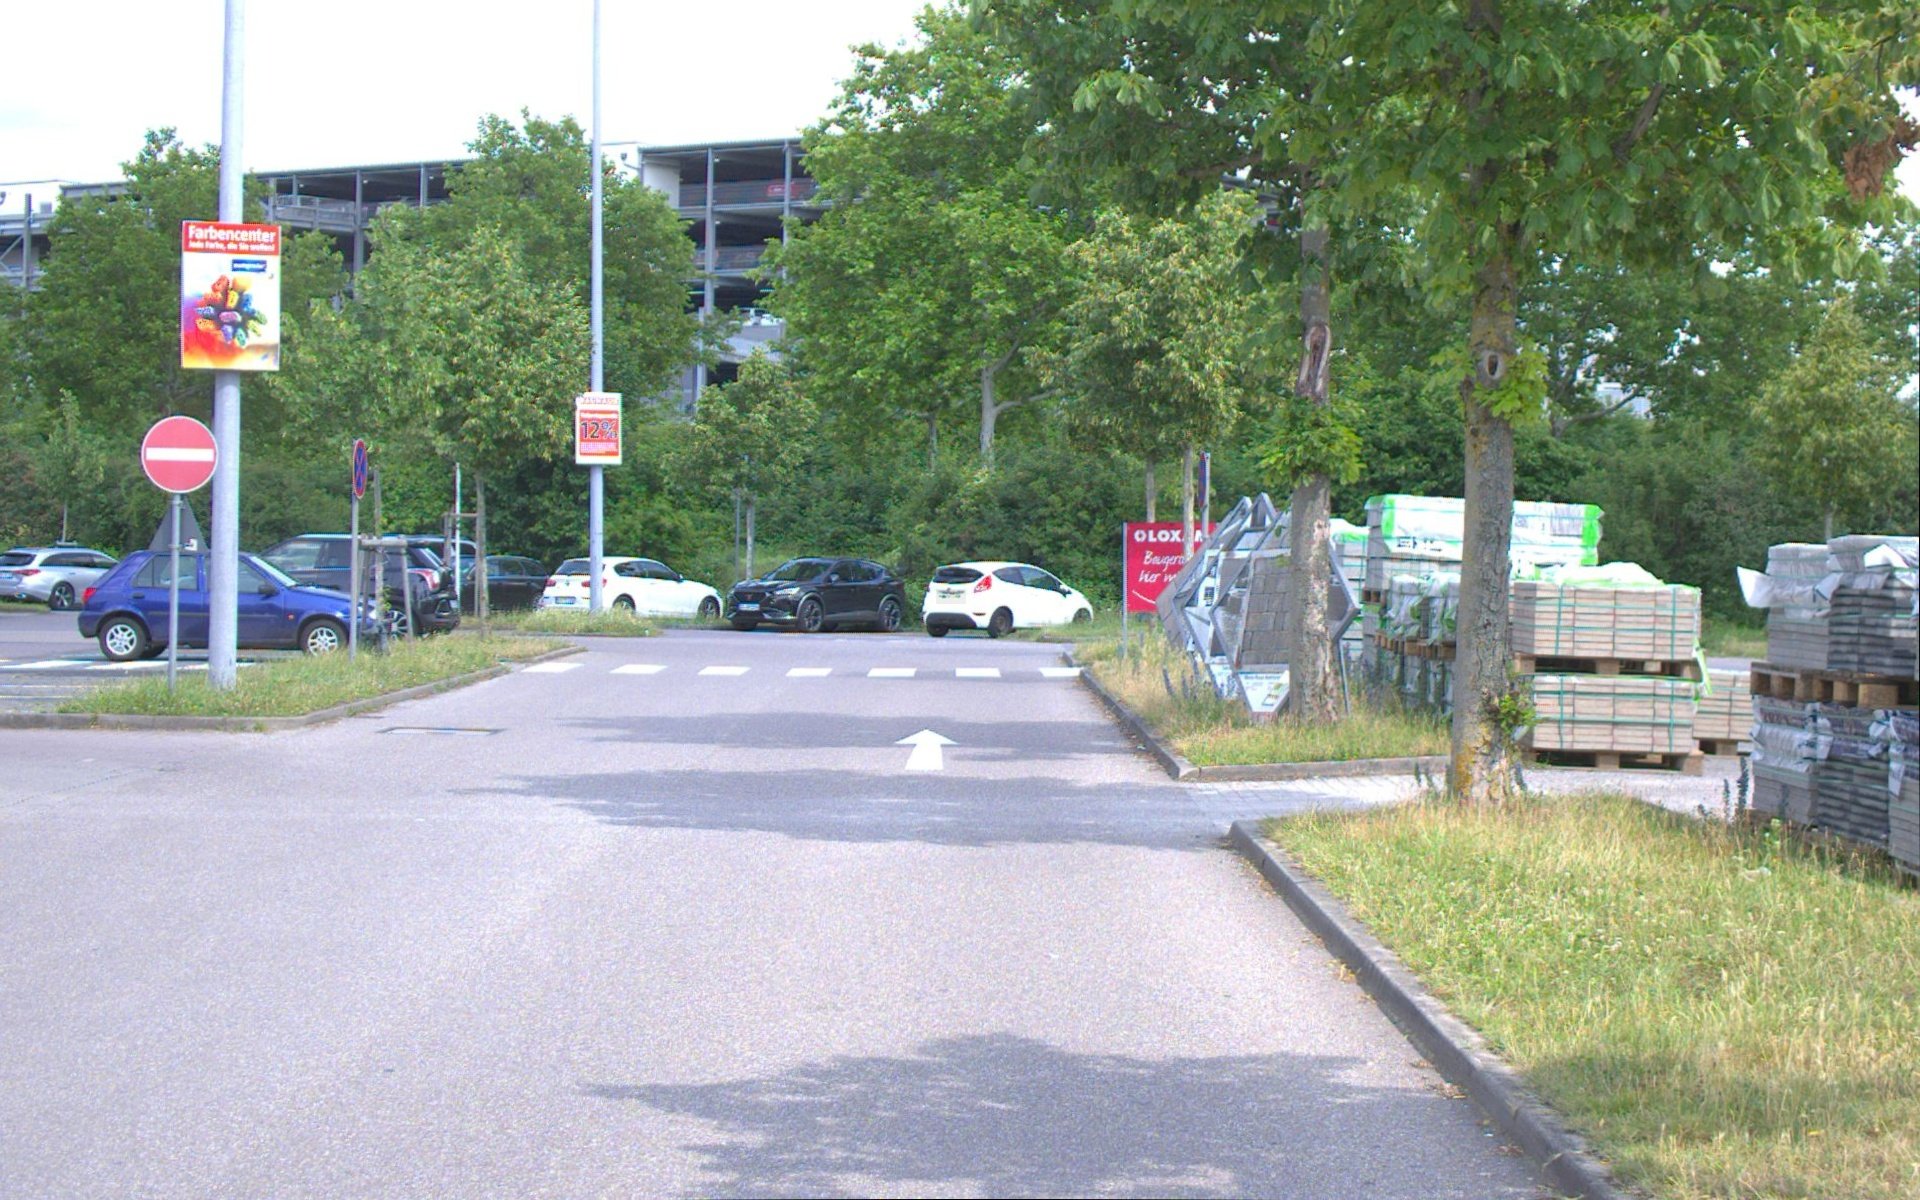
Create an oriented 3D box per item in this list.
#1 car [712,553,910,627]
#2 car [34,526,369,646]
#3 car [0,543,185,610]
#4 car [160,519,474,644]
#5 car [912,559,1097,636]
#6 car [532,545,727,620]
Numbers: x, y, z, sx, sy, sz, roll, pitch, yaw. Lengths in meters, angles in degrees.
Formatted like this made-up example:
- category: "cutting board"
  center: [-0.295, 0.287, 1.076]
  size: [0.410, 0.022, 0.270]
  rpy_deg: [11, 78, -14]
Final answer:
- category: "car"
  center: [-2.948, -0.208, 68.759]
  size: [1.731, 1.405, 4.234]
  rpy_deg: [2, 1, 35]
- category: "car"
  center: [-9.311, -0.183, 42.388]
  size: [3.750, 1.363, 1.621]
  rpy_deg: [1, 1, 0]
- category: "car"
  center: [-20.450, -0.556, 80.243]
  size: [1.782, 1.499, 4.645]
  rpy_deg: [2, 1, 34]
- category: "car"
  center: [-8.842, -0.268, 47.466]
  size: [3.950, 1.619, 1.736]
  rpy_deg: [1, 1, 2]
- category: "car"
  center: [0.881, -0.046, 65.723]
  size: [1.668, 1.407, 3.549]
  rpy_deg: [2, 1, 39]
- category: "car"
  center: [-6.825, -0.366, 71.306]
  size: [1.688, 1.504, 4.073]
  rpy_deg: [0, 0, 38]
